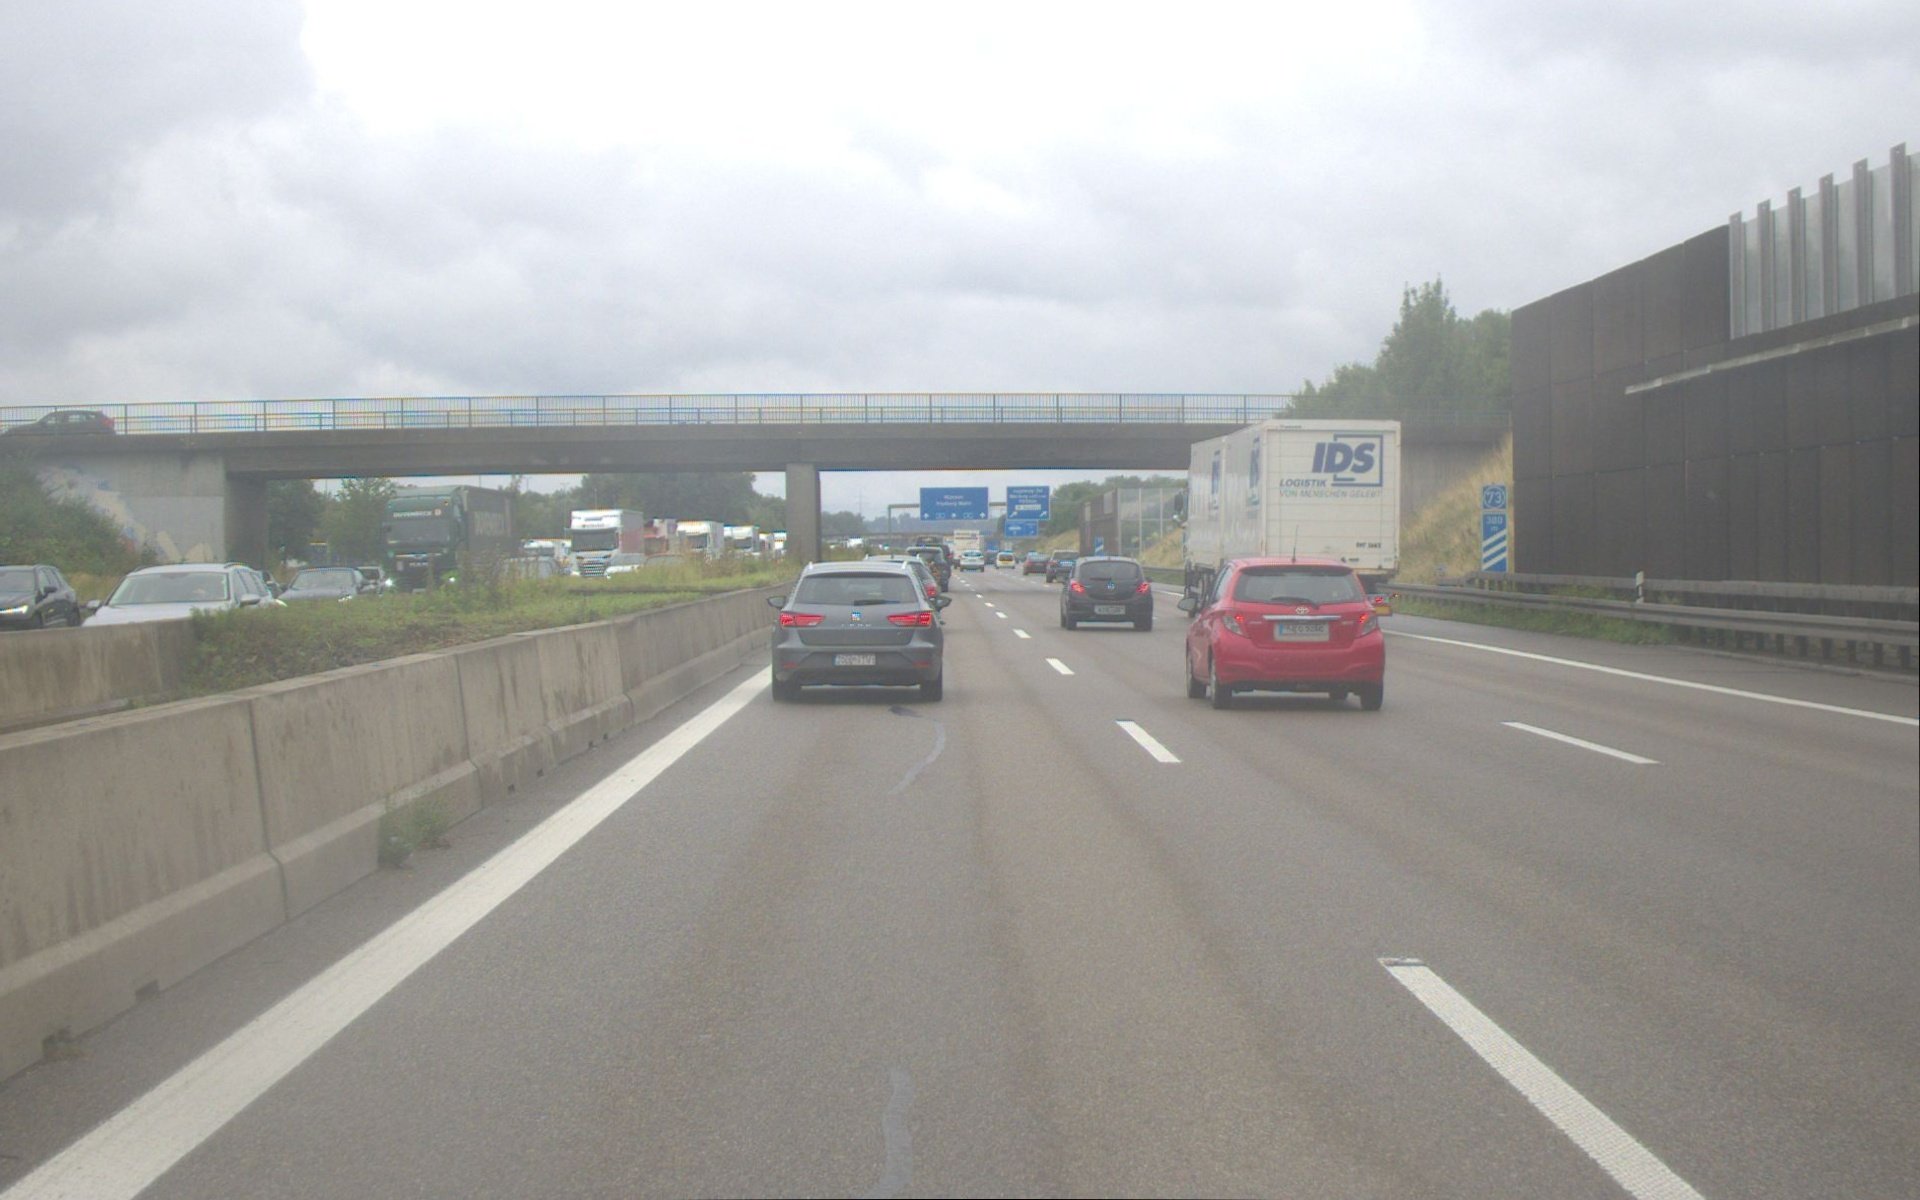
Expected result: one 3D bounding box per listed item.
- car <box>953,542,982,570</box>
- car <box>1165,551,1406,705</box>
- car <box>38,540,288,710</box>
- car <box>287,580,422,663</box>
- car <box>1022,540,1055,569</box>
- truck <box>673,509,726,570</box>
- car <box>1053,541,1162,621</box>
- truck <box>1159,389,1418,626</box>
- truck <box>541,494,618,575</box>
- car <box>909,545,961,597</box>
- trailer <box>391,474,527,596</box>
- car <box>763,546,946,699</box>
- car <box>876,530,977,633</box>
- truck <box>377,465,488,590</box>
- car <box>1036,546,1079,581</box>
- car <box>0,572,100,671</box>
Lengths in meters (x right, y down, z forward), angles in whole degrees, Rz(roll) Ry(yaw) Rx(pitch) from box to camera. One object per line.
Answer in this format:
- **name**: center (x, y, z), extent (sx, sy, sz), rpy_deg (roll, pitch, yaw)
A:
- **car**: center (0.544, -3.256, 254.080), extent (1.993, 2.007, 4.242), rpy_deg (1, 0, 0)
- **car**: center (3.247, 0.236, 35.116), extent (1.891, 1.442, 4.685), rpy_deg (0, 1, -2)
- **car**: center (-9.440, 0.266, 41.081), extent (1.927, 1.873, 4.590), rpy_deg (1, 0, 0)
- **car**: center (-13.317, 0.438, 75.925), extent (2.093, 1.704, 4.800), rpy_deg (0, 1, 1)
- **car**: center (5.074, -2.974, 222.932), extent (1.993, 1.806, 4.228), rpy_deg (-1, 1, 0)
- **truck**: center (-18.945, -4.393, 250.537), extent (2.977, 4.304, 9.669), rpy_deg (1, 0, 0)
- **car**: center (2.890, -0.407, 68.329), extent (1.921, 1.516, 4.622), rpy_deg (0, 1, -1)
- **truck**: center (6.571, -1.774, 72.505), extent (3.283, 4.280, 19.034), rpy_deg (1, 0, -1)
- **truck**: center (-19.360, -3.305, 175.207), extent (3.272, 4.031, 5.293), rpy_deg (1, 0, 0)
- **car**: center (-0.928, -1.067, 124.914), extent (1.704, 1.790, 3.855), rpy_deg (-1, 1, -2)
- **trailer**: center (-17.745, -2.251, 122.738), extent (2.757, 4.036, 14.519), rpy_deg (1, 0, 0)
- **car**: center (-1.073, 0.204, 35.771), extent (1.768, 1.462, 4.000), rpy_deg (1, 0, -1)
- **car**: center (-0.631, -0.373, 64.751), extent (1.825, 1.844, 4.000), rpy_deg (-1, 1, -1)
- **truck**: center (-17.732, -2.403, 115.909), extent (2.757, 4.036, 6.255), rpy_deg (1, 0, 0)
- **car**: center (4.815, -1.807, 170.202), extent (1.845, 1.681, 4.000), rpy_deg (1, 0, -1)
- **car**: center (-17.766, 0.365, 64.292), extent (2.093, 1.704, 4.962), rpy_deg (0, 1, 1)
